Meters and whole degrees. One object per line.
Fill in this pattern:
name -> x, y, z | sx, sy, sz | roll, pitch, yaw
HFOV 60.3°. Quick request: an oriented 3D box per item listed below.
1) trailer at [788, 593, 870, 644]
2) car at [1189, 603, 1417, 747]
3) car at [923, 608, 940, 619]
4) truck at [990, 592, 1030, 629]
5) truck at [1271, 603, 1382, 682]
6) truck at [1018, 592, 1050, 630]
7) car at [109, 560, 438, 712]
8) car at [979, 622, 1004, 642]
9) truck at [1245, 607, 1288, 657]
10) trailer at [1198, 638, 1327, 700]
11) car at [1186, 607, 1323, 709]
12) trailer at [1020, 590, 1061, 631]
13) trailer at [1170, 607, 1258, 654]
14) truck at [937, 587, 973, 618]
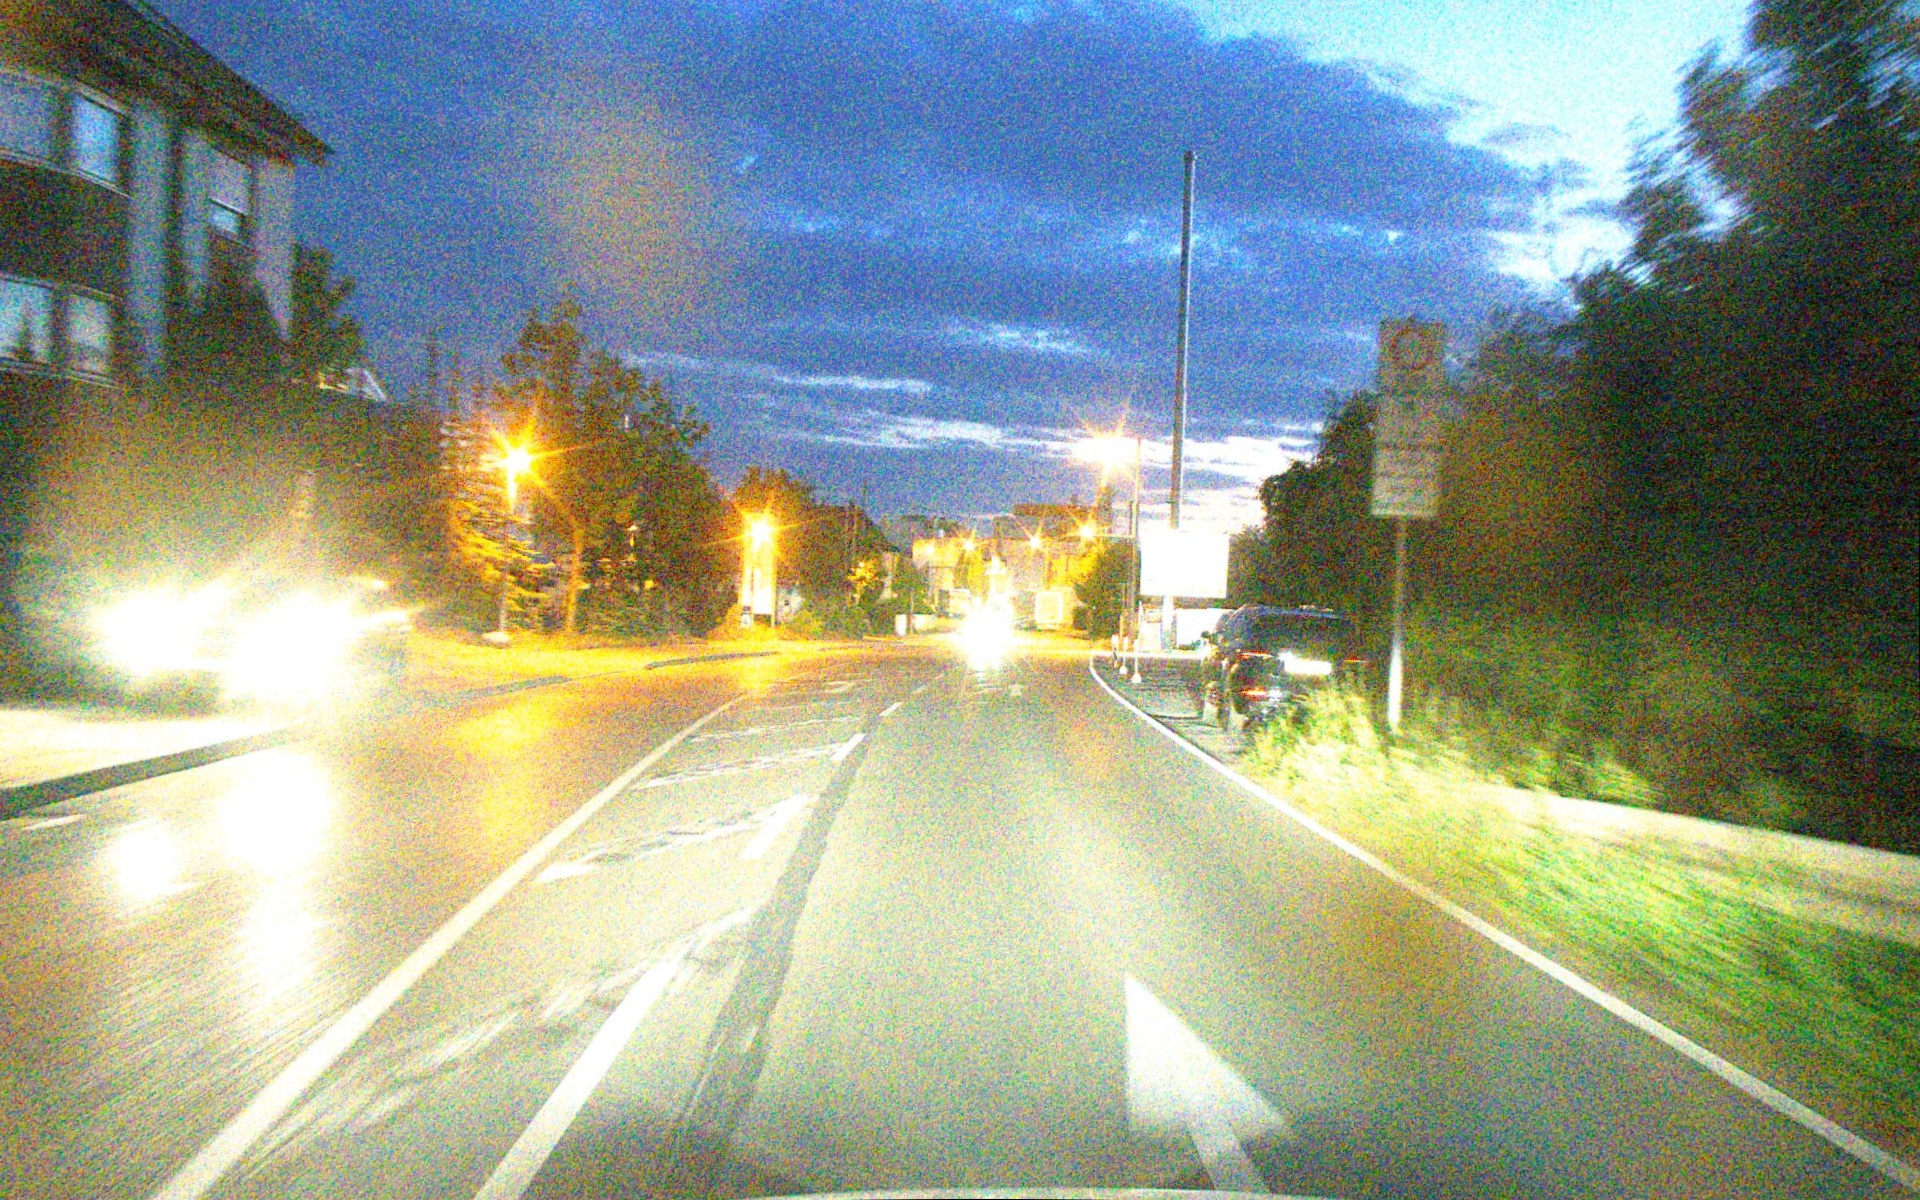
trailer -> -7.285, 1.018, 92.164 | 4.257, 2.768, 2.001 | 1, 0, 4
car -> 4.318, 0.886, 21.548 | 1.953, 1.579, 4.325 | 3, 0, -1
car -> -4.093, 1.905, 238.765 | 1.819, 1.545, 3.807 | 1, 0, -11
truck -> 5.692, 1.168, 190.635 | 2.778, 4.053, 10.320 | 1, 0, -9
truck -> 12.042, 1.380, 54.959 | 2.328, 2.324, 7.746 | 2, -1, 3
truck -> 8.015, 1.165, 179.961 | 2.774, 4.053, 6.045 | 1, 0, -4
car -> -7.787, 0.393, 19.357 | 1.811, 1.470, 4.914 | 3, -1, -1
car -> 2.815, 2.816, 146.431 | 1.952, 1.655, 4.754 | 2, -1, 4
truck -> 18.496, 1.960, 100.171 | 2.137, 2.796, 7.321 | 3, -1, 8
trailer -> 6.841, 1.512, 38.403 | 2.128, 0.983, 9.622 | 4, 0, 6
car -> 5.143, 0.985, 29.369 | 1.894, 1.579, 4.002 | 3, -1, 4
trailer -> 8.359, 1.098, 173.491 | 2.753, 4.053, 13.964 | 1, 0, -3
trailer -> 11.794, 1.403, 76.827 | 3.676, 2.049, 1.612 | 1, 0, 29
truck -> -0.767, 0.379, 223.637 | 3.454, 4.053, 10.323 | 1, 0, -8
